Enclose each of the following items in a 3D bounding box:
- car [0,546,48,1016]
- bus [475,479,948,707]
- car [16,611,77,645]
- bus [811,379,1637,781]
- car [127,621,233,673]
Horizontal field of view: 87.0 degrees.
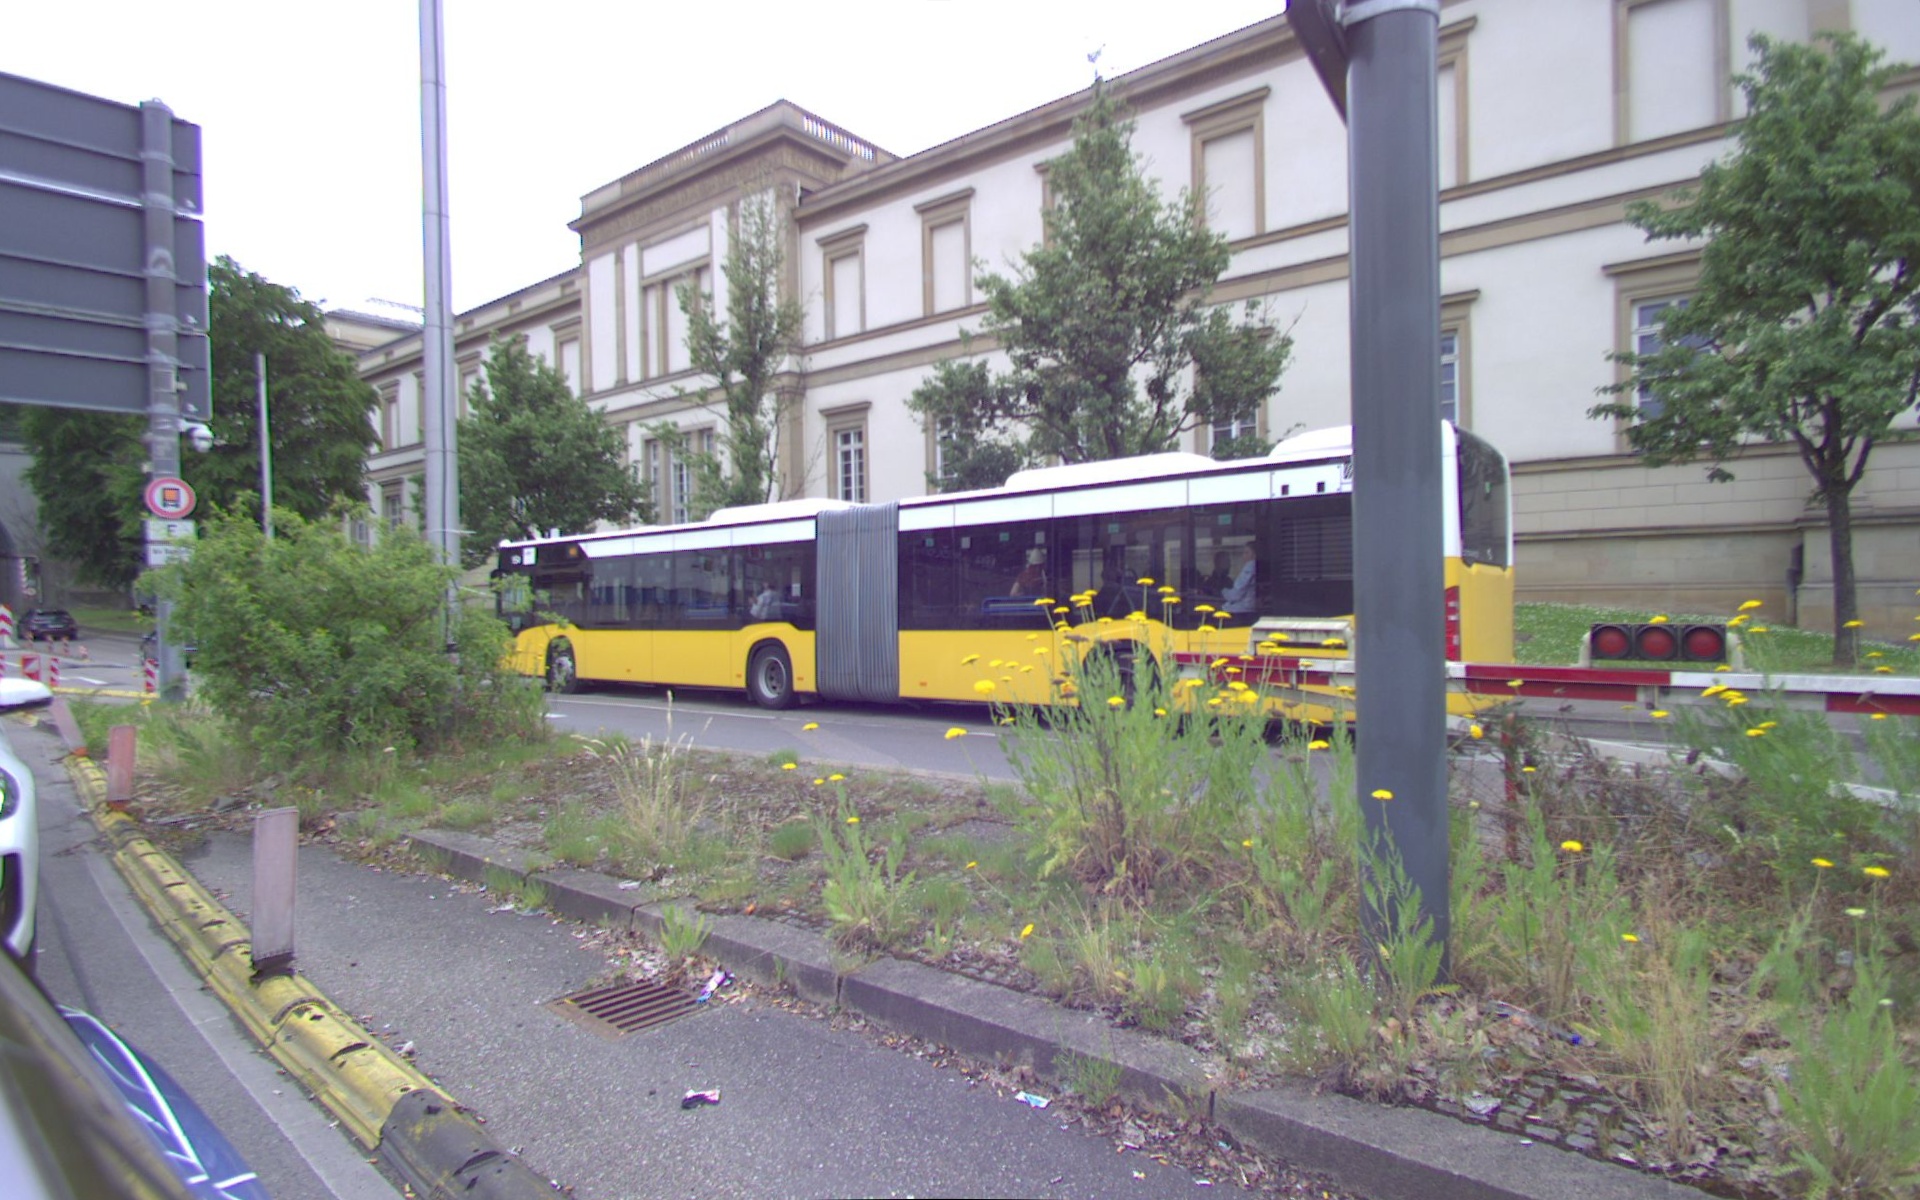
[{"bbox_3d":[-5.248,0.672,4.172,3.881,1.603,1.824,-2,0,42],"label":"car"},{"bbox_3d":[-4.882,-0.024,18.052,9.736,3.137,2.818,-1,0,39],"label":"bus"},{"bbox_3d":[-45.083,1.365,49.936,3.879,1.601,1.680,-1,0,40],"label":"car"},{"bbox_3d":[2.335,-0.096,11.963,9.117,3.137,2.816,-1,0,41],"label":"bus"},{"bbox_3d":[-24.892,1.439,32.232,4.626,1.482,1.683,-1,0,40],"label":"car"}]
